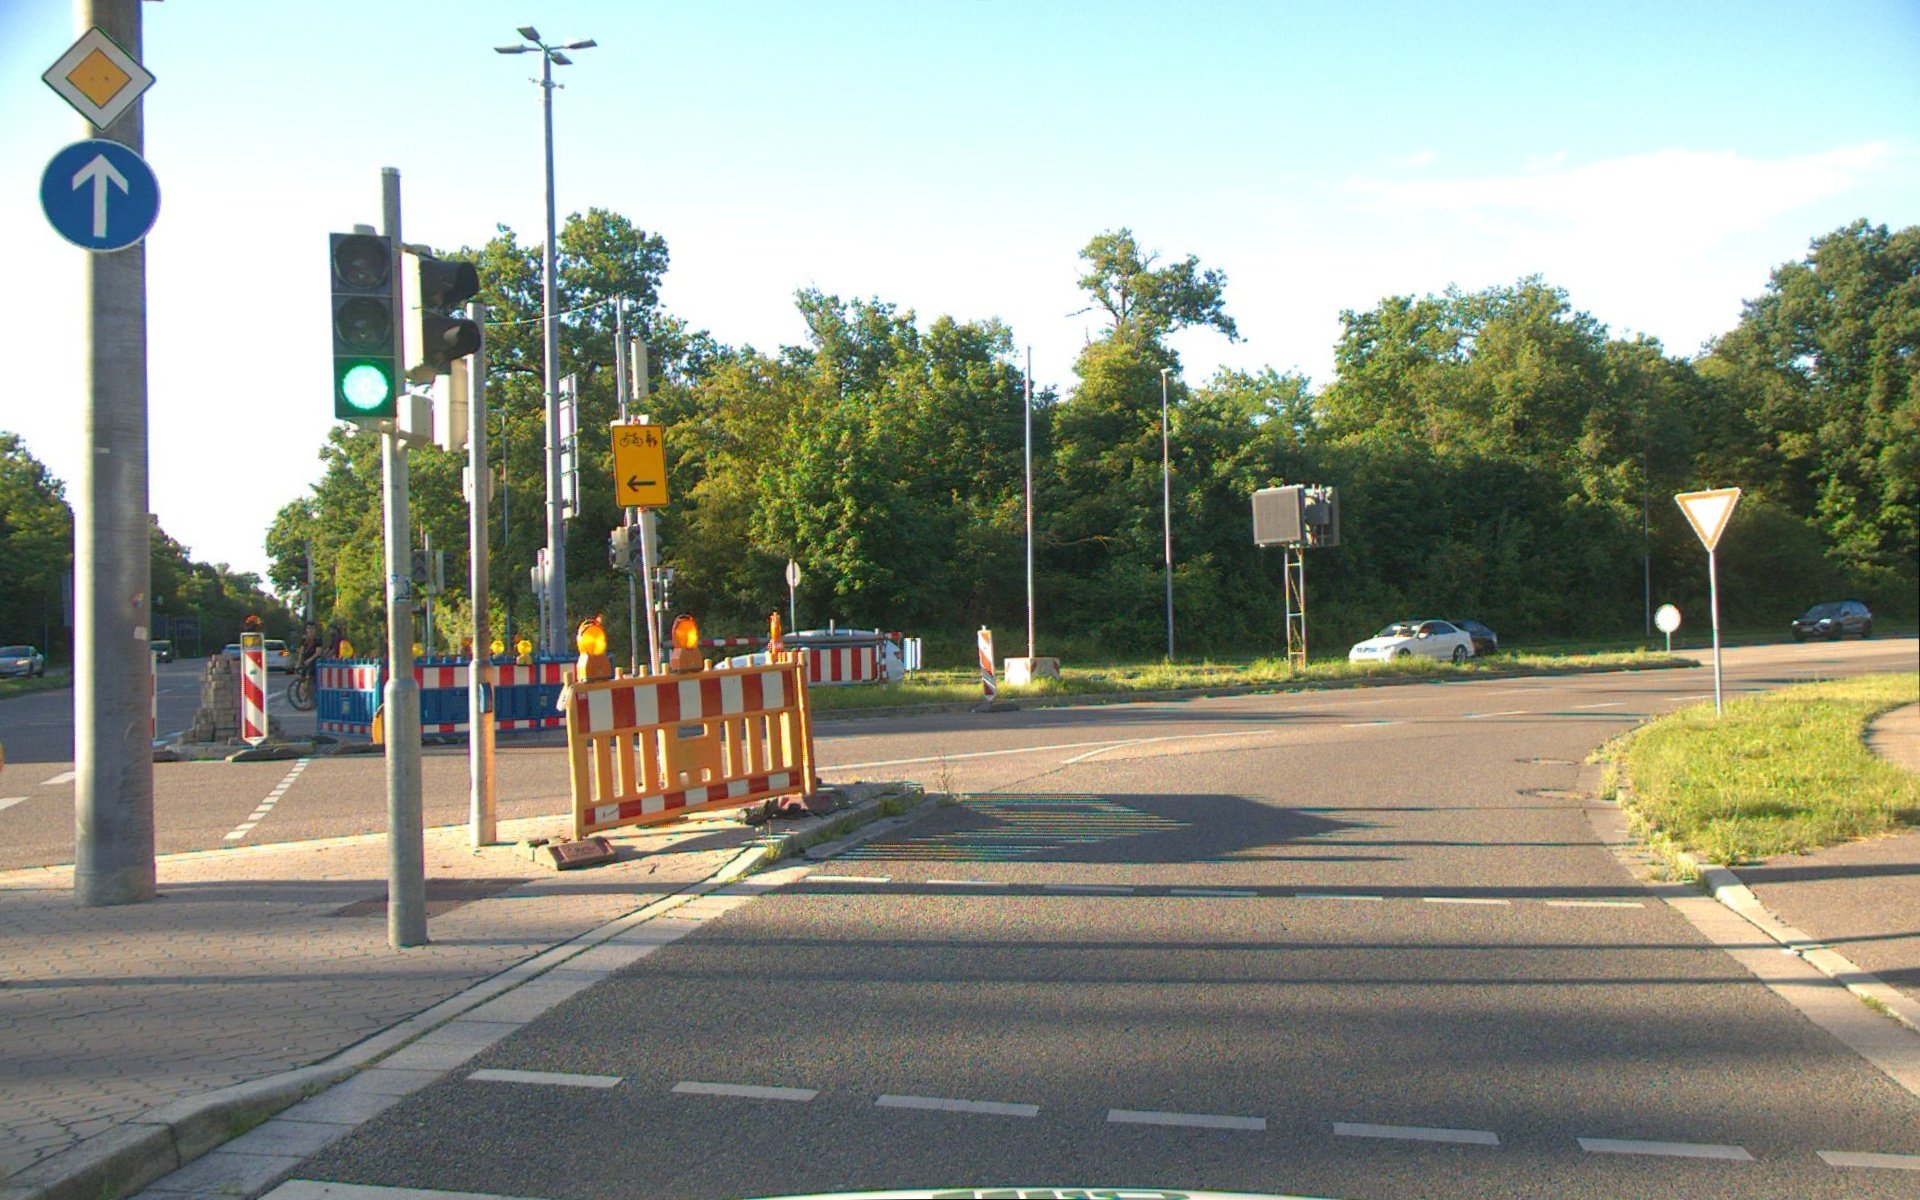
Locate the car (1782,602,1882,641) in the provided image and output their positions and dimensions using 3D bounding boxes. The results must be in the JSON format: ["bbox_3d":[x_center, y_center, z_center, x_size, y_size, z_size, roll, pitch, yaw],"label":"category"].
[{"bbox_3d":[37.934,0.933,71.939,4.598,1.556,1.975,-1,-1,-36],"label":"car"}]

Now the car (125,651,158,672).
[{"bbox_3d":[-67.343,5.039,136.147,1.964,1.683,4.223,-1,-1,-20],"label":"car"}]

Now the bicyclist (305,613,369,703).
[{"bbox_3d":[-13.851,1.284,36.764,0.950,1.964,1.011,-1,-2,40],"label":"bicyclist"}]

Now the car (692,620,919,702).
[{"bbox_3d":[-3.389,1.319,36.829,4.788,1.608,1.971,-1,-1,-40],"label":"car"}]

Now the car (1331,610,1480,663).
[{"bbox_3d":[13.591,1.095,50.348,4.761,1.461,1.972,-1,-1,-39],"label":"car"}]

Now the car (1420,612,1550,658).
[{"bbox_3d":[17.987,1.187,56.602,4.761,1.461,1.972,-1,-1,-39],"label":"car"}]

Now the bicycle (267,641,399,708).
[{"bbox_3d":[-13.886,1.619,36.697,0.950,1.407,2.627,-1,-2,39],"label":"bicycle"}]

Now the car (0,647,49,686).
[{"bbox_3d":[-46.075,3.238,80.866,1.964,1.821,4.223,-1,-1,-20],"label":"car"}]

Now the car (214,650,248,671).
[{"bbox_3d":[-52.538,4.367,119.297,1.835,1.469,3.978,0,-1,-18],"label":"car"}]

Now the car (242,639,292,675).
[{"bbox_3d":[-30.031,2.459,71.722,1.913,1.439,3.972,-1,-1,-22],"label":"car"}]
